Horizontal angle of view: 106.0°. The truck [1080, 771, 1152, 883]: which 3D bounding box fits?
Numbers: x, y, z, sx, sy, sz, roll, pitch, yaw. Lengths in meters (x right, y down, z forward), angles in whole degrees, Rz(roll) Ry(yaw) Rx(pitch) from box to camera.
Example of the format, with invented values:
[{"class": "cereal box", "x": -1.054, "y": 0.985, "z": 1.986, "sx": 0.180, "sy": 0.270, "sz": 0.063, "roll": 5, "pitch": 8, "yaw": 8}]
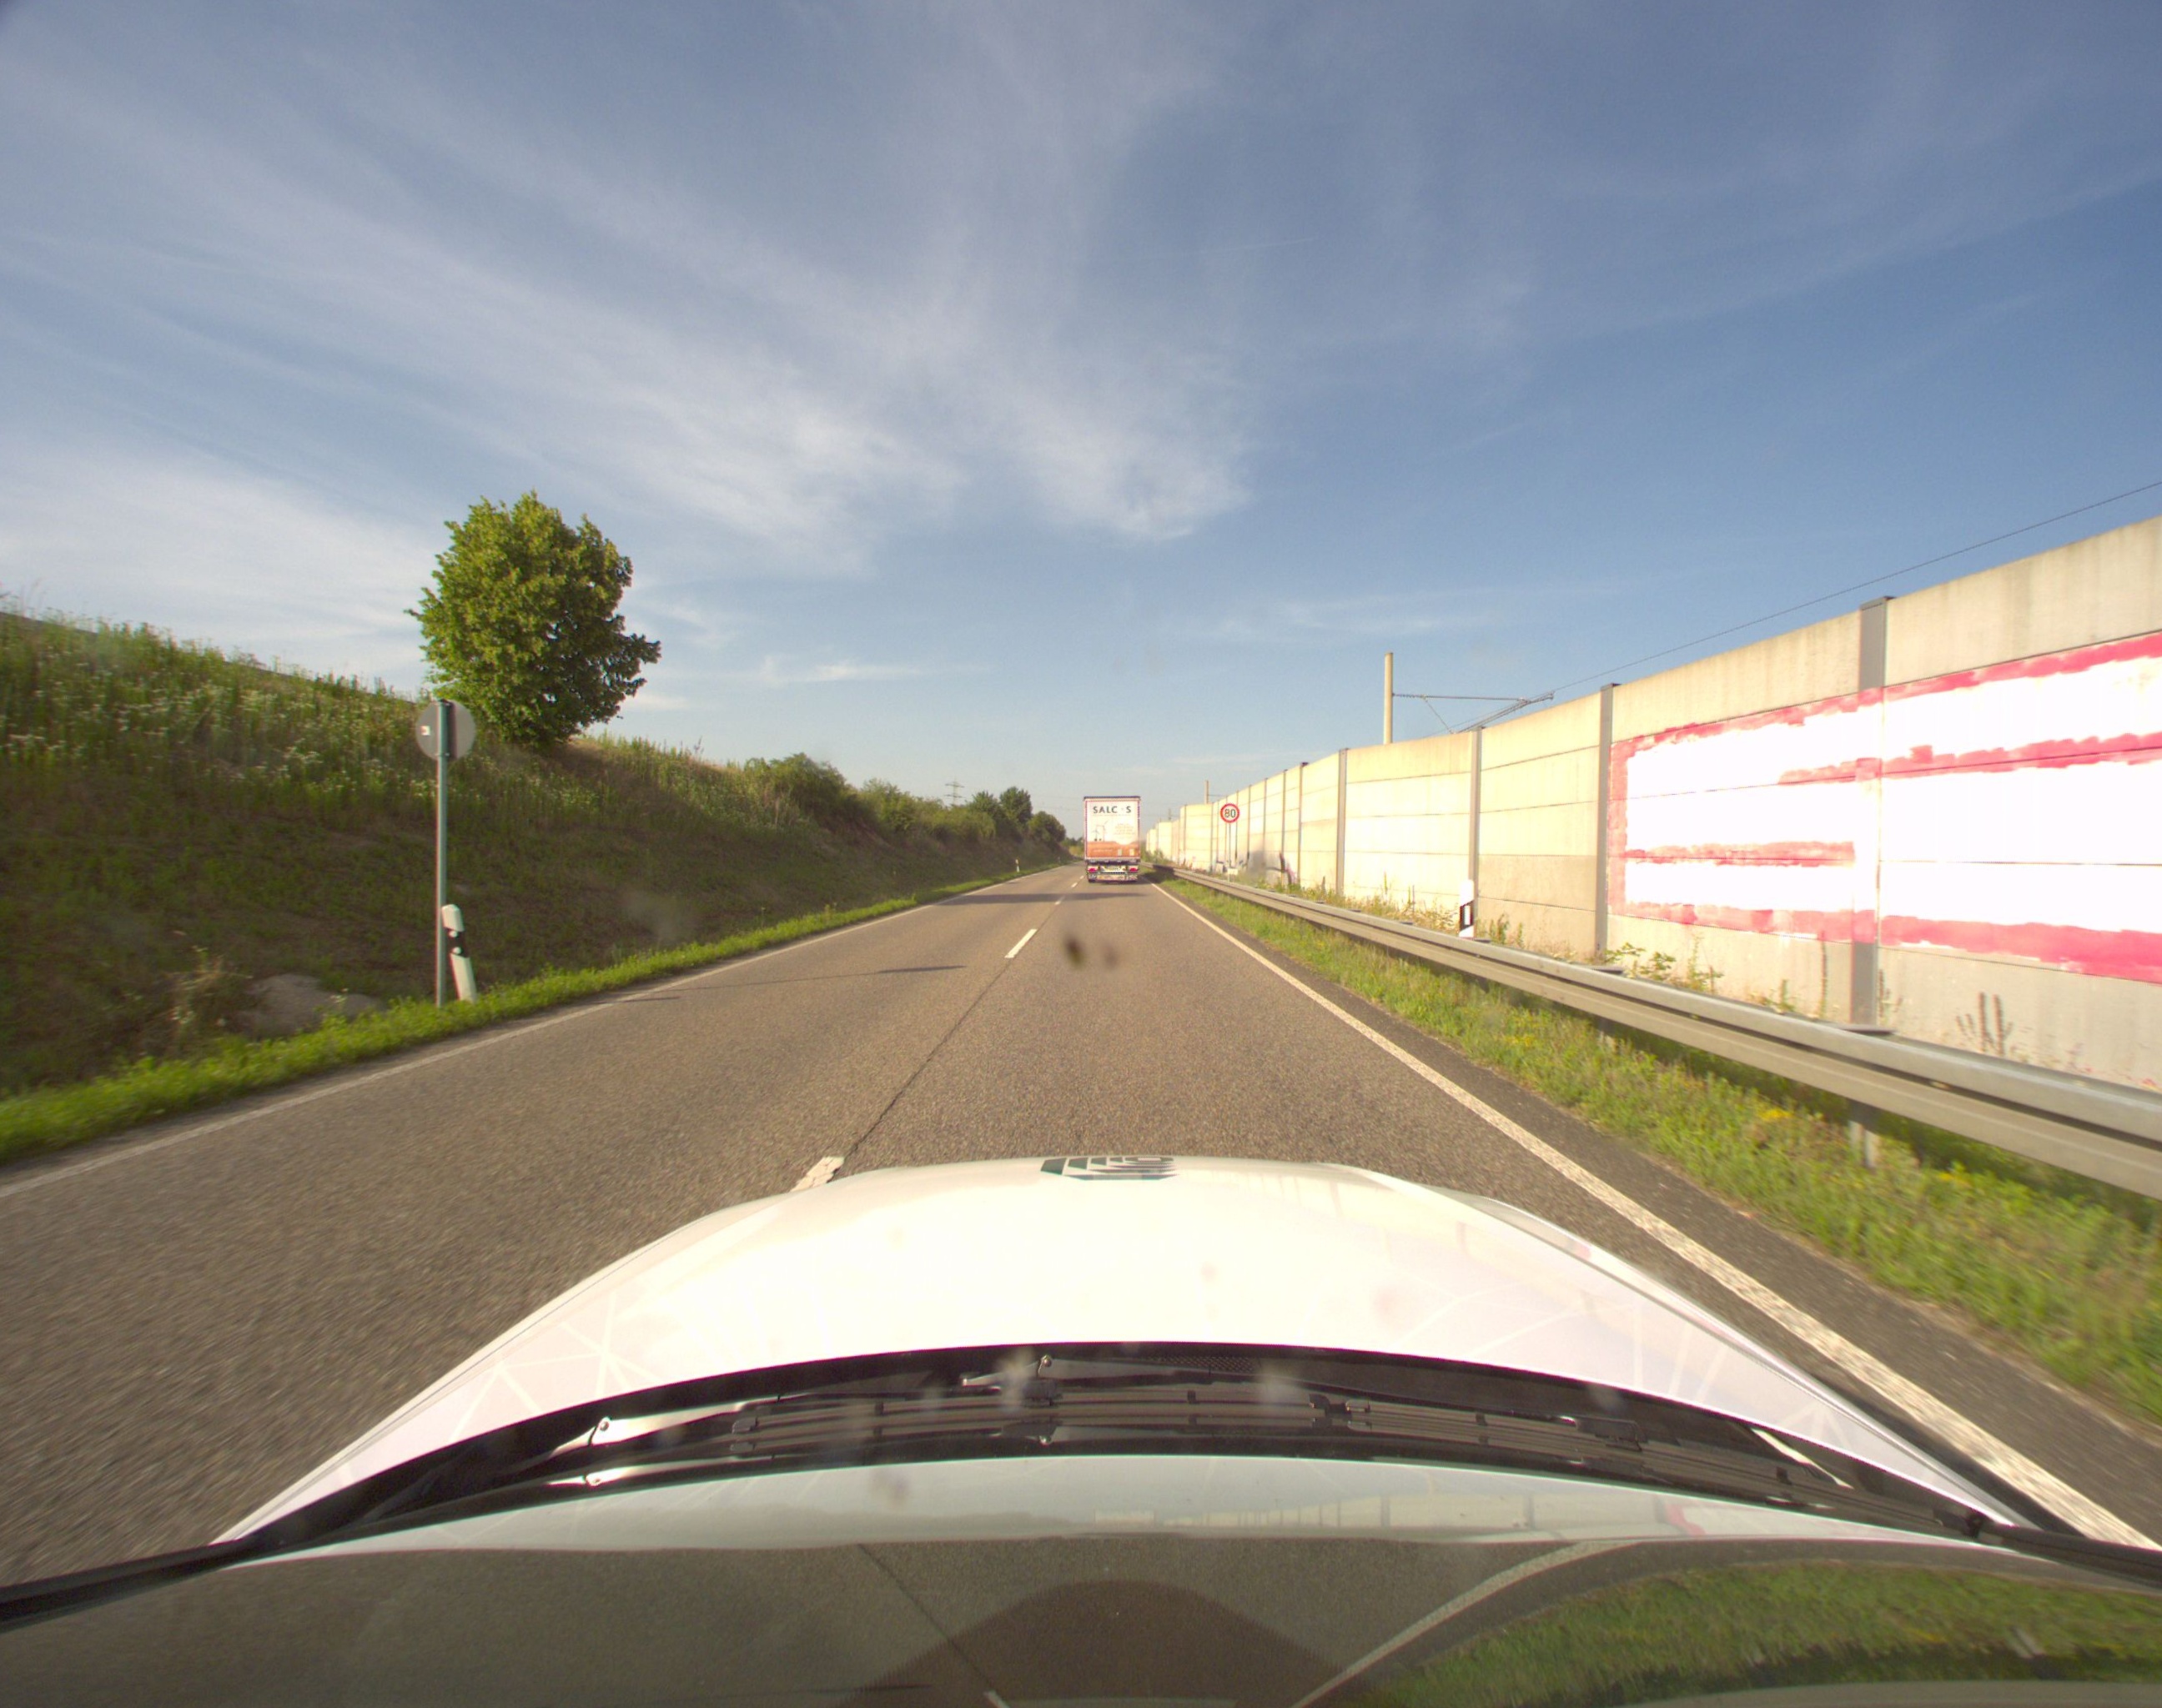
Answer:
[{"class": "truck", "x": 1.608, "y": -1.275, "z": 43.058, "sx": 3.280, "sy": 5.090, "sz": 12.036, "roll": 0, "pitch": 0, "yaw": 0}]
